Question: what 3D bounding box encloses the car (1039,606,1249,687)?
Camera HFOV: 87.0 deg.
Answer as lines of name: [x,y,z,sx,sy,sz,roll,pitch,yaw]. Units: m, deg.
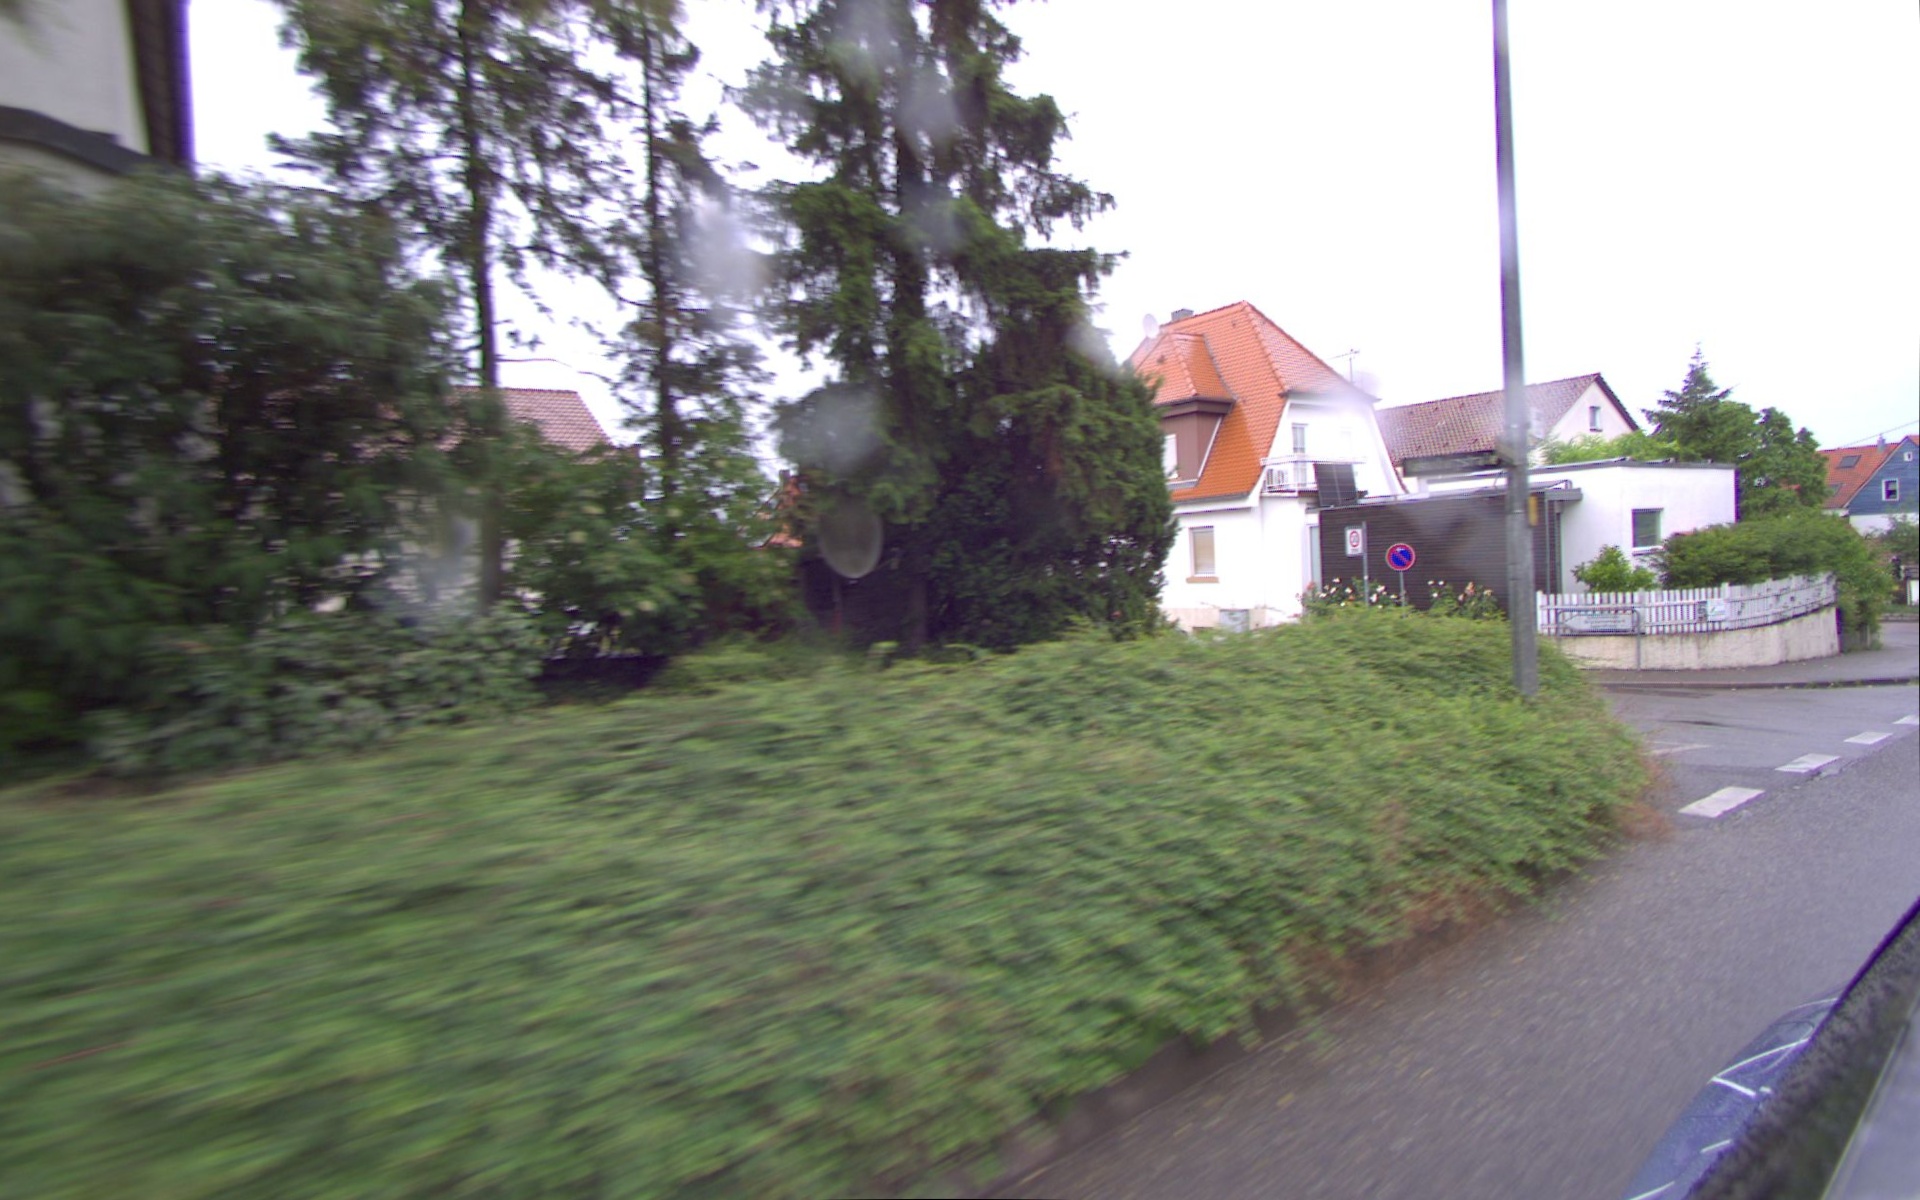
car: [3.784,0.927,21.437,1.831,1.520,4.175,0,-1,-39]
